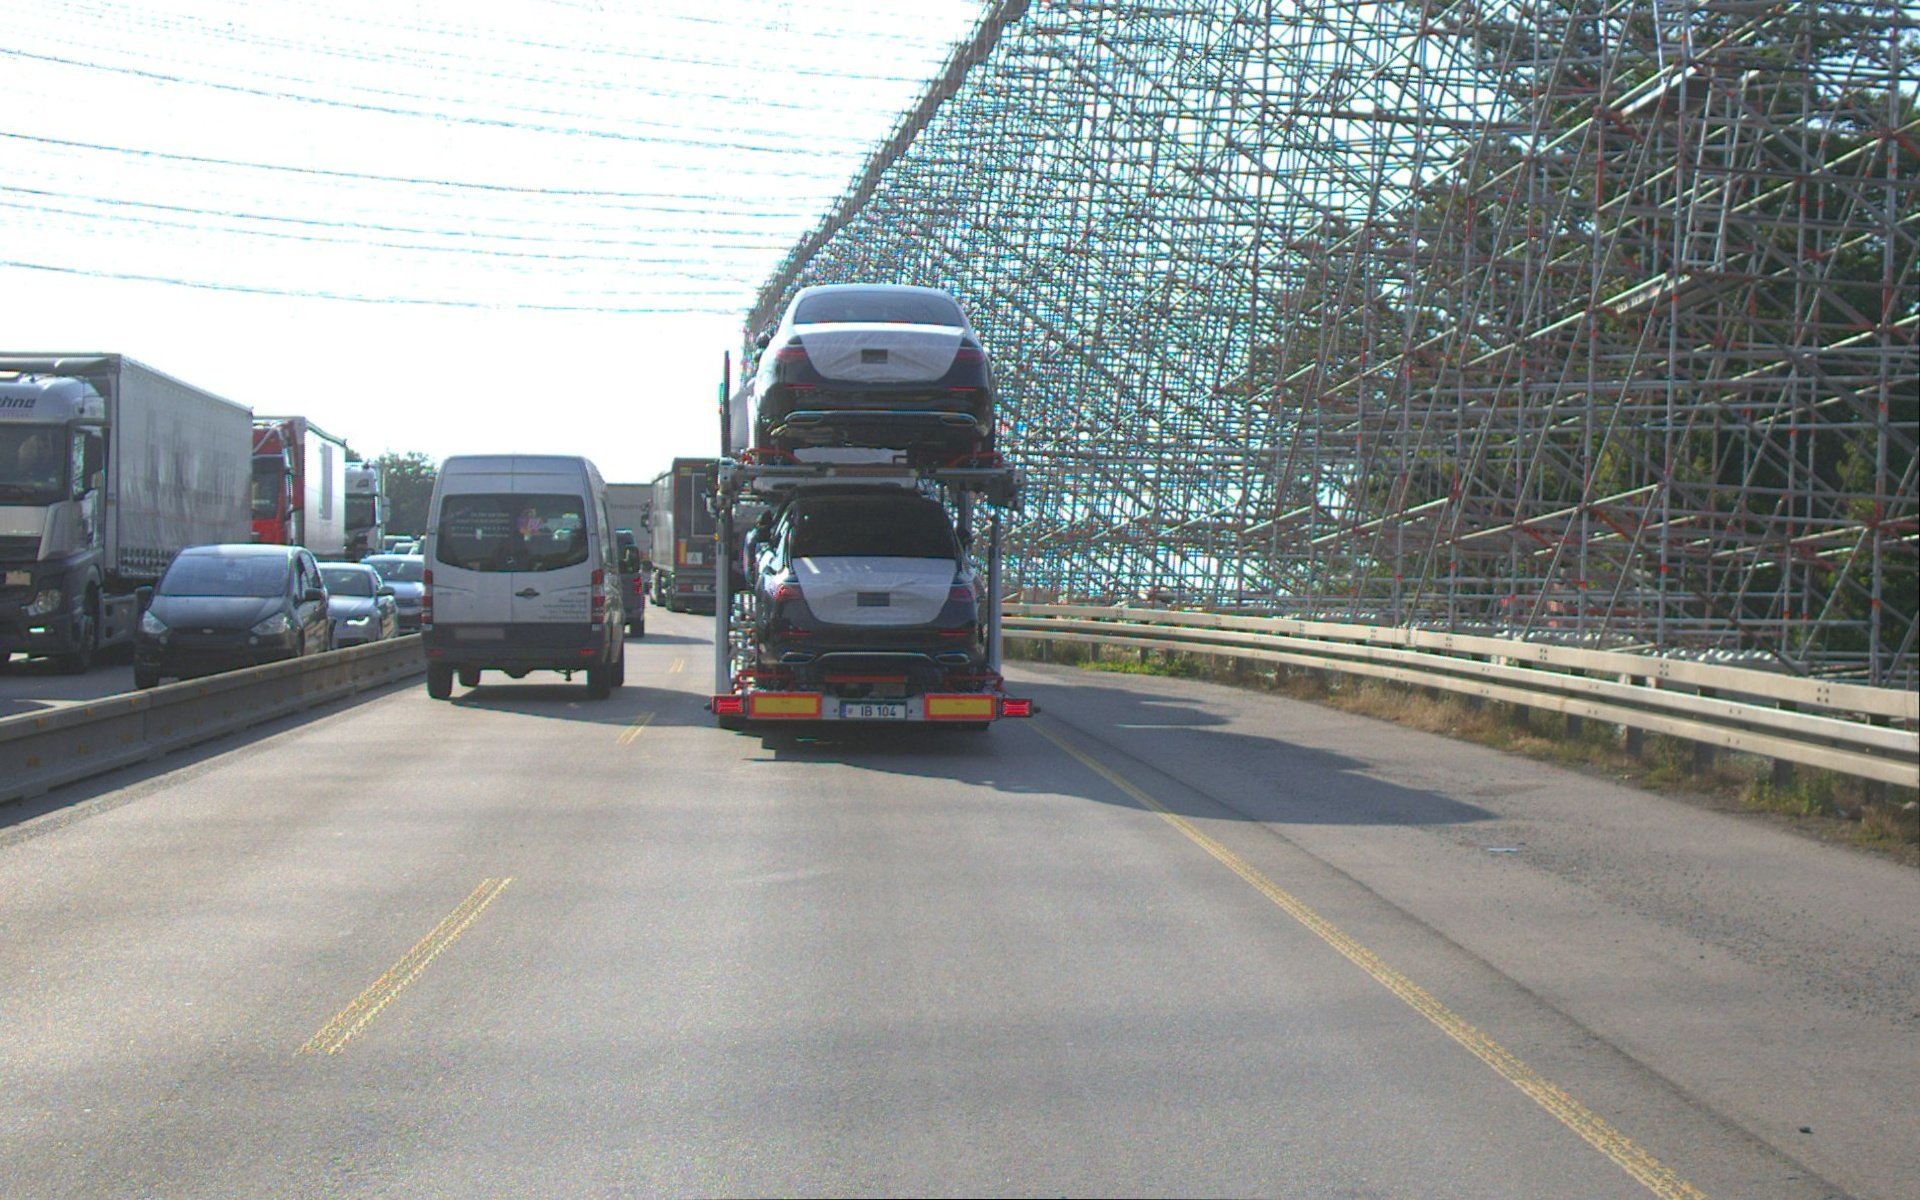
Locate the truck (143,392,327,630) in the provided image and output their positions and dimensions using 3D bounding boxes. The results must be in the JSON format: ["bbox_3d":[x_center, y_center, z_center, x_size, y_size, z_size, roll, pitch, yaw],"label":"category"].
[{"bbox_3d":[-13.312,-1.584,63.552,2.786,4.127,6.681,1,0,-7],"label":"truck"}]

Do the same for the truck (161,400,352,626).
[{"bbox_3d":[-14.152,-1.655,70.096,2.786,4.127,13.811,1,0,-7],"label":"truck"}]

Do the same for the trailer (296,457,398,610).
[{"bbox_3d":[-18.400,-2.004,103.721,2.653,4.219,13.924,2,1,-9],"label":"trailer"}]

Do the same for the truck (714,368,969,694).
[{"bbox_3d":[-1.586,-0.817,42.904,2.881,3.690,7.326,1,0,-4],"label":"truck"}]

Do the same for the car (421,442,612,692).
[{"bbox_3d":[-4.833,-0.352,37.900,1.956,2.612,4.001,0,0,-5],"label":"car"}]

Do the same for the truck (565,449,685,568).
[{"bbox_3d":[-12.782,-3.470,132.268,3.686,4.206,13.670,-2,1,-2],"label":"truck"}]

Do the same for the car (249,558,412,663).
[{"bbox_3d":[-9.080,0.121,49.903,1.731,1.373,4.892,2,1,-4],"label":"car"}]

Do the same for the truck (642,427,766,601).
[{"bbox_3d":[-7.069,-2.307,93.610,2.731,4.370,11.524,2,1,-7],"label":"truck"}]

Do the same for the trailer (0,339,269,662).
[{"bbox_3d":[-12.578,-1.344,51.146,2.798,4.127,13.969,1,0,-4],"label":"trailer"}]

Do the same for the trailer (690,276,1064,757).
[{"bbox_3d":[-1.049,-0.708,34.177,2.868,3.712,14.949,1,0,-3],"label":"trailer"}]

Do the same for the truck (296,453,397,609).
[{"bbox_3d":[-17.257,-1.921,96.837,2.662,4.215,6.106,1,1,-10],"label":"truck"}]

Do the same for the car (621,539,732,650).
[{"bbox_3d":[-5.378,-0.109,65.064,1.993,2.007,4.001,1,0,-5],"label":"car"}]

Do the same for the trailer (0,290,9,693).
[{"bbox_3d":[-11.295,-1.117,30.234,2.765,4.319,13.883,1,0,-3],"label":"trailer"}]

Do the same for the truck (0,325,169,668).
[{"bbox_3d":[-12.091,-1.279,44.367,2.787,4.127,5.935,1,0,-4],"label":"truck"}]

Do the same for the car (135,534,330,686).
[{"bbox_3d":[-8.413,0.074,40.087,1.752,1.652,4.864,0,1,-6],"label":"car"}]

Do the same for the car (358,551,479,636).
[{"bbox_3d":[-10.100,-0.135,64.397,1.732,1.434,4.839,4,0,-4],"label":"car"}]
